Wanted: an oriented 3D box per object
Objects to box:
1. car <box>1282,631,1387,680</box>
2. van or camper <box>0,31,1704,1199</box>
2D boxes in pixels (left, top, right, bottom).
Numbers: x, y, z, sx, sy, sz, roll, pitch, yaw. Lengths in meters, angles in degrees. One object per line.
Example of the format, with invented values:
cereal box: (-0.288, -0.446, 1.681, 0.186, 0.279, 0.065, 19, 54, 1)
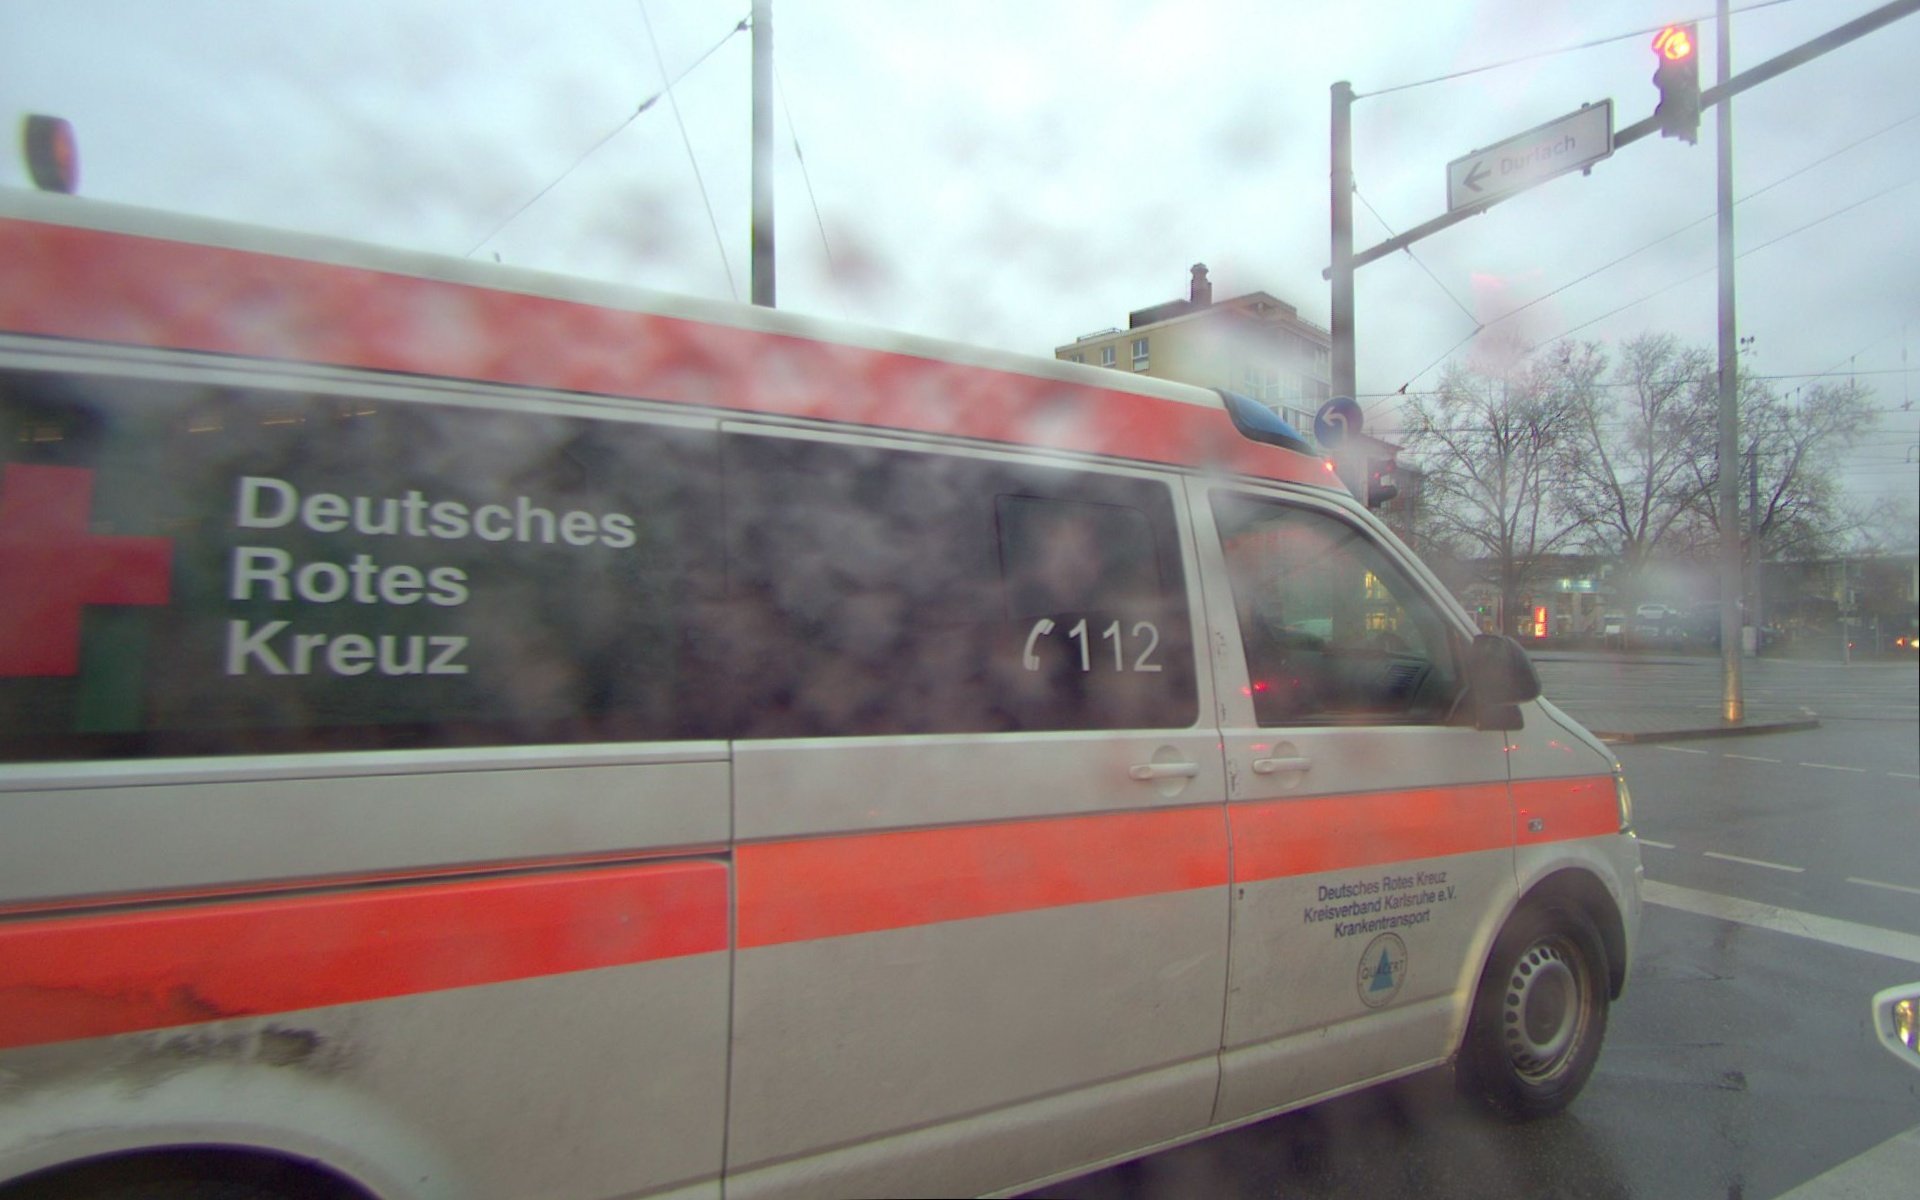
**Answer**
car: (18.093, 2.660, 48.637, 4.346, 2.040, 1.905, 2, -2, 37)
van or camper: (-0.342, 0.413, 2.925, 4.926, 2.137, 2.192, 1, 0, -29)
